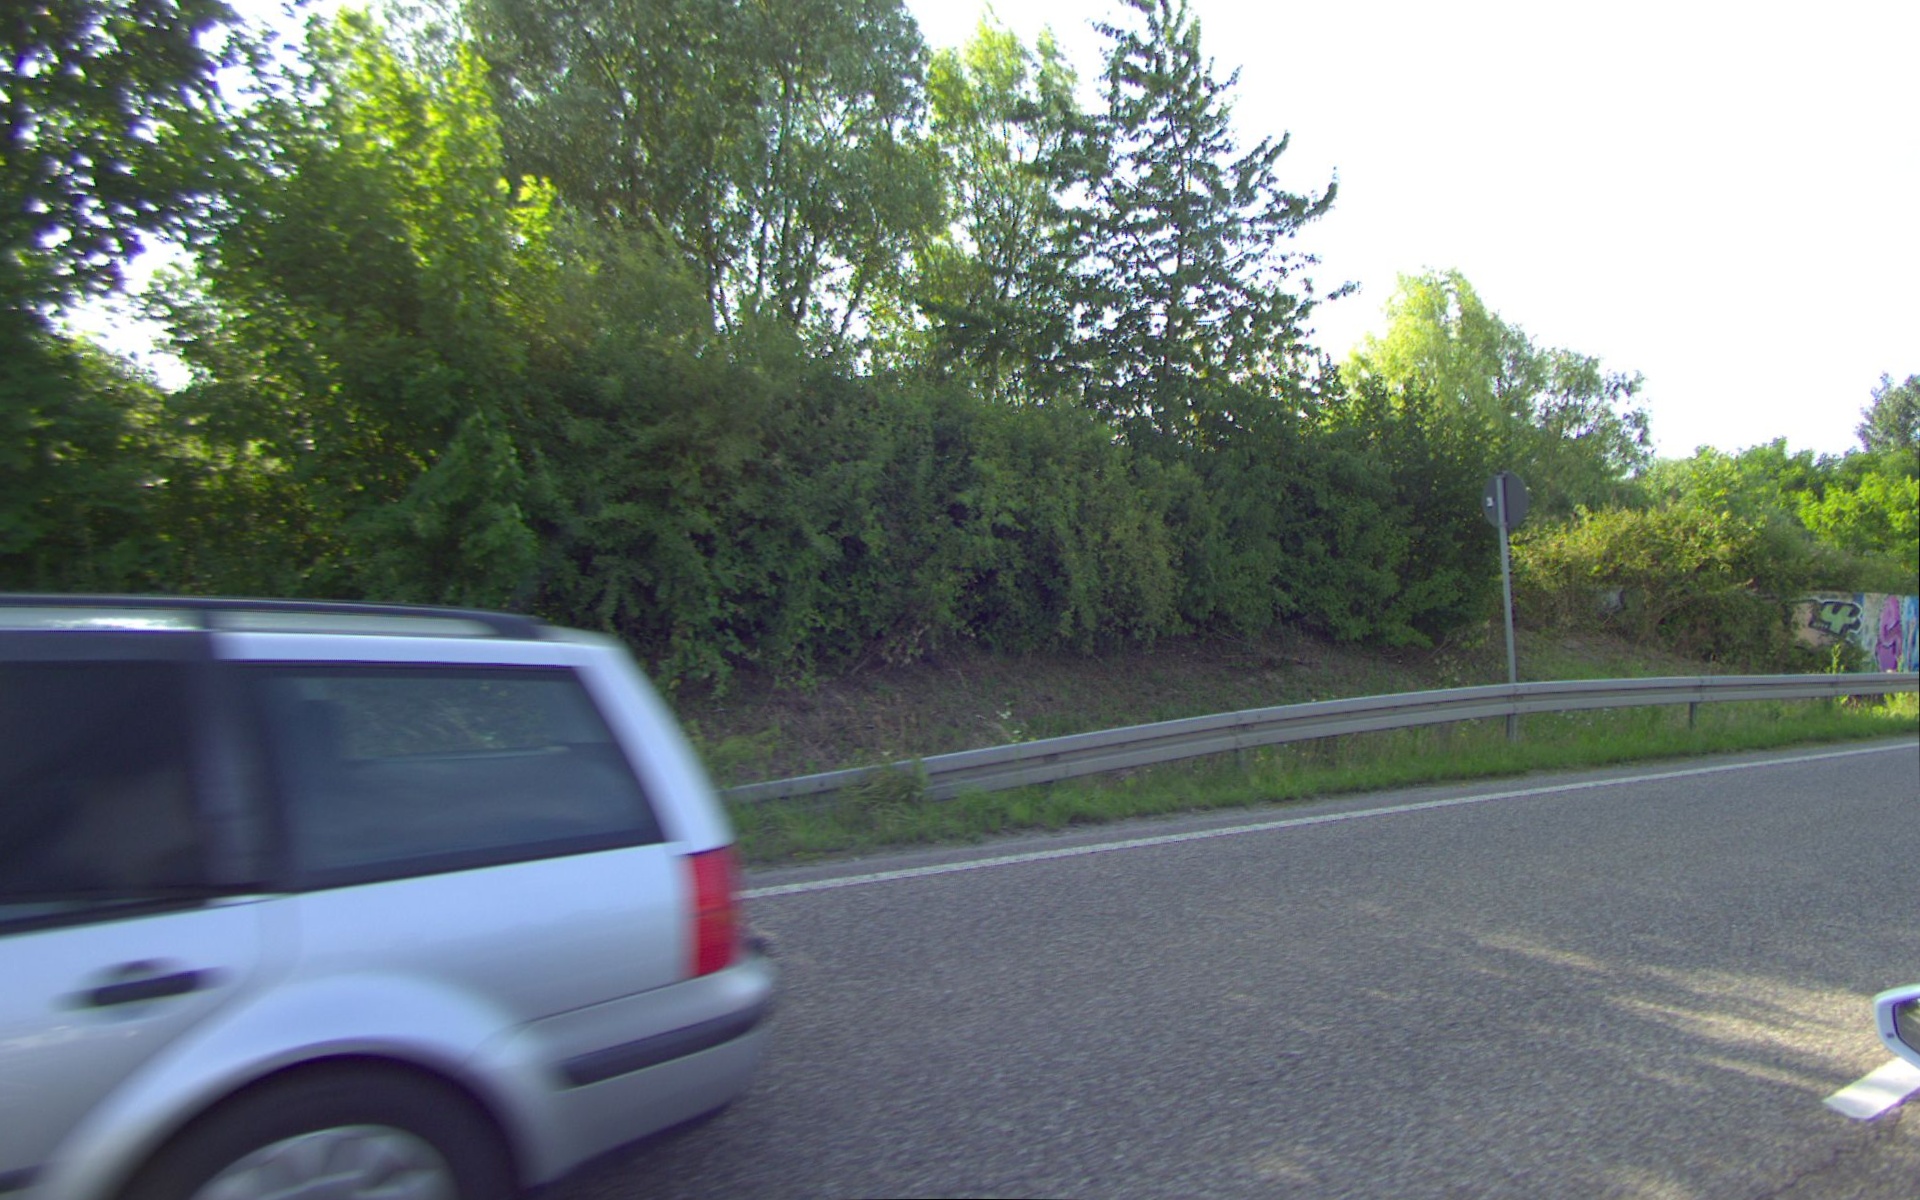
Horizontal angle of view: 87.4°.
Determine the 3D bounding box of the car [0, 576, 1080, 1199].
[{"bbox_3d":[-1.967,0.659,2.183,4.313,1.413,1.710,2,0,-33],"label":"car"}]
